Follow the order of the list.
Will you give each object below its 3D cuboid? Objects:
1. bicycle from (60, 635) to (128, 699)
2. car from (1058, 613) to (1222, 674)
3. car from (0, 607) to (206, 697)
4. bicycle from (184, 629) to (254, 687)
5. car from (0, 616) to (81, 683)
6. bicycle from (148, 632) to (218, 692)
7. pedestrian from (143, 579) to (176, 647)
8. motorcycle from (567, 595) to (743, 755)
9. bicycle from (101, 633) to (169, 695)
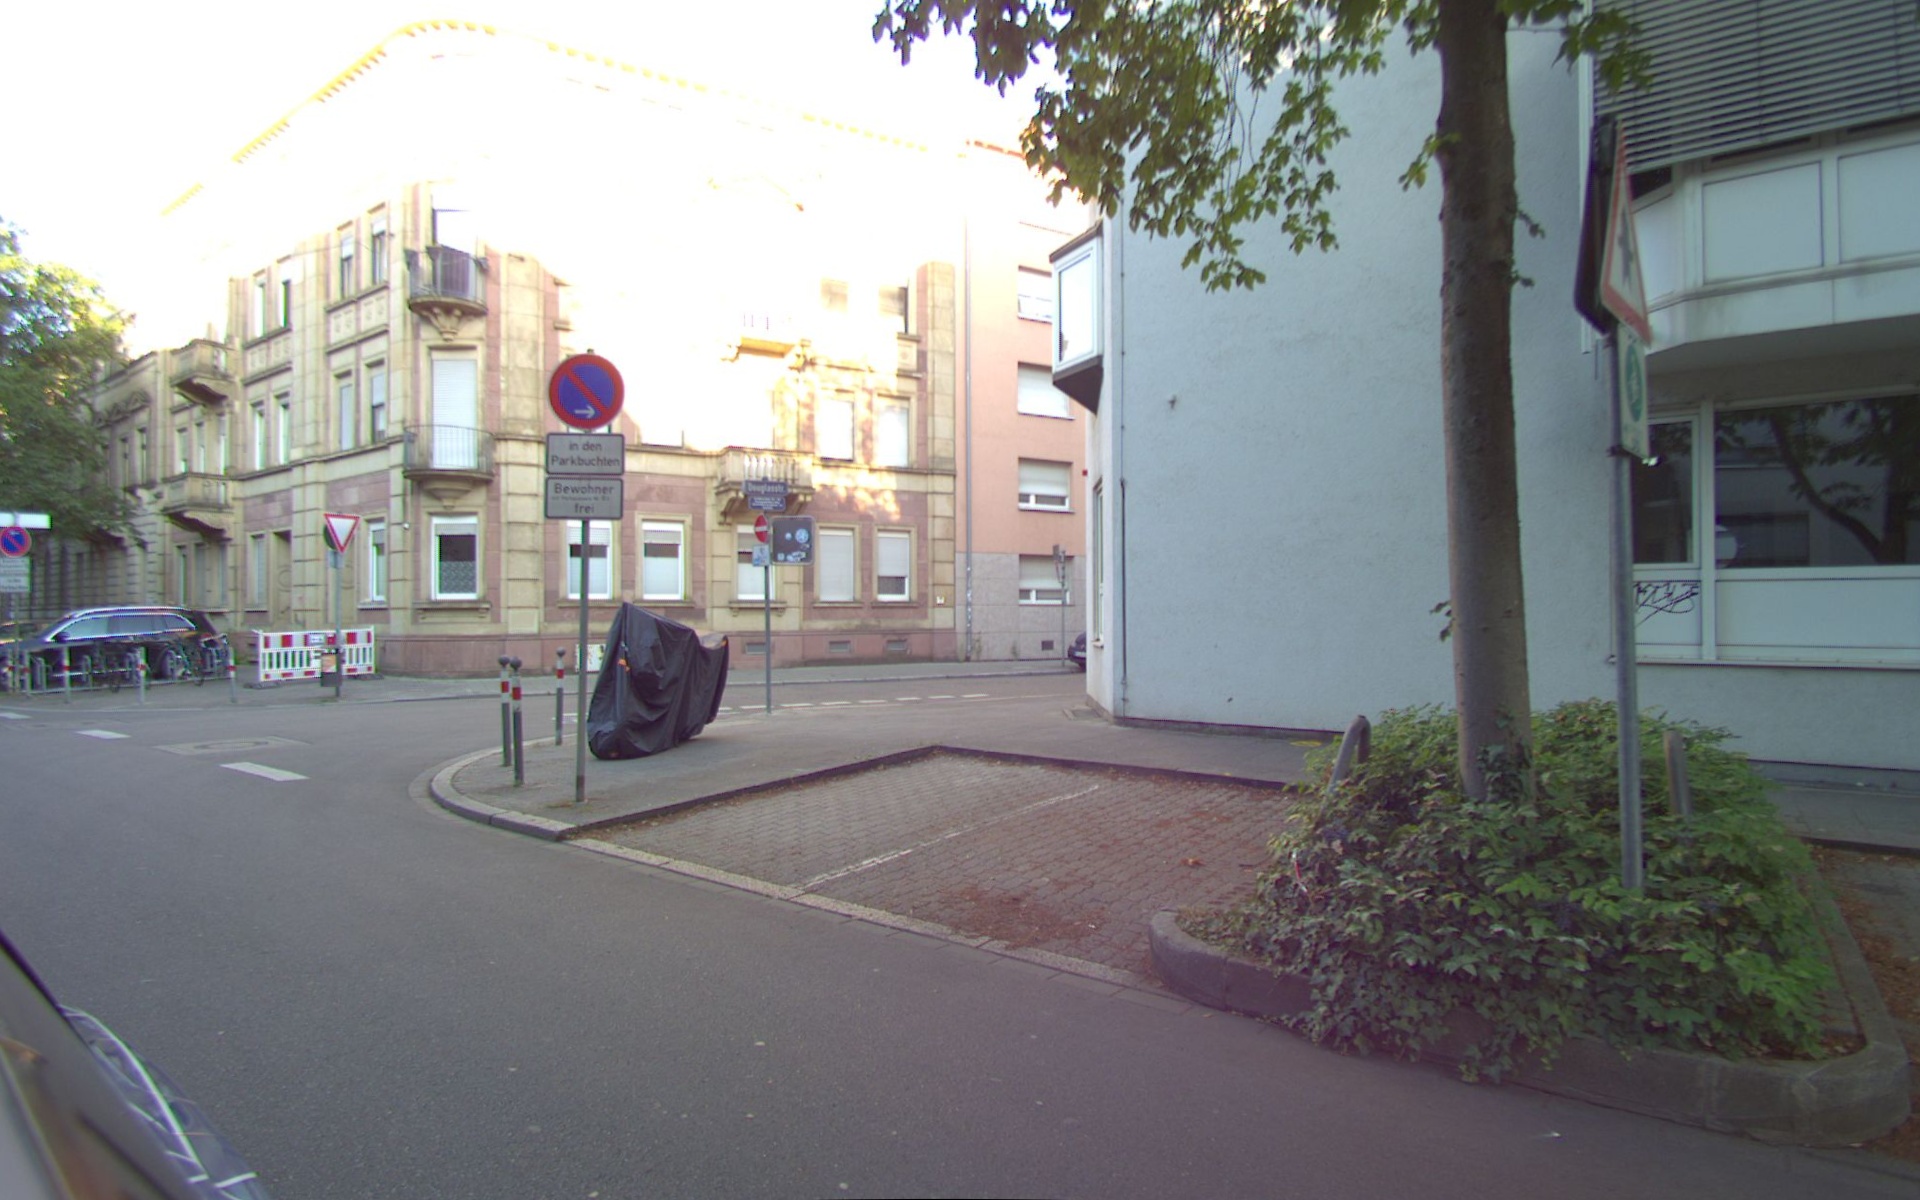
[{"bbox_3d":[-16.776,1.274,19.587,2.036,1.159,0.555,-1,-1,36],"label":"bicycle"},{"bbox_3d":[4.866,1.114,27.161,4.296,1.529,1.790,1,-1,-34],"label":"car"},{"bbox_3d":[-19.010,1.067,21.622,1.740,1.795,4.367,-1,-1,39],"label":"car"},{"bbox_3d":[-15.541,1.189,21.204,2.035,1.159,0.555,-1,-1,35],"label":"bicycle"},{"bbox_3d":[-25.258,1.266,25.752,1.741,1.690,4.188,-1,-1,41],"label":"car"},{"bbox_3d":[-15.913,1.251,20.714,2.035,1.159,0.555,-1,-1,35],"label":"bicycle"},{"bbox_3d":[-21.794,0.365,27.559,0.650,1.821,0.566,-1,-1,38],"label":"pedestrian"},{"bbox_3d":[-3.159,0.731,10.788,0.810,1.516,2.274,-1,-1,12],"label":"motorcycle"},{"bbox_3d":[-16.405,1.249,20.103,2.036,1.159,0.555,-1,-1,36],"label":"bicycle"}]
